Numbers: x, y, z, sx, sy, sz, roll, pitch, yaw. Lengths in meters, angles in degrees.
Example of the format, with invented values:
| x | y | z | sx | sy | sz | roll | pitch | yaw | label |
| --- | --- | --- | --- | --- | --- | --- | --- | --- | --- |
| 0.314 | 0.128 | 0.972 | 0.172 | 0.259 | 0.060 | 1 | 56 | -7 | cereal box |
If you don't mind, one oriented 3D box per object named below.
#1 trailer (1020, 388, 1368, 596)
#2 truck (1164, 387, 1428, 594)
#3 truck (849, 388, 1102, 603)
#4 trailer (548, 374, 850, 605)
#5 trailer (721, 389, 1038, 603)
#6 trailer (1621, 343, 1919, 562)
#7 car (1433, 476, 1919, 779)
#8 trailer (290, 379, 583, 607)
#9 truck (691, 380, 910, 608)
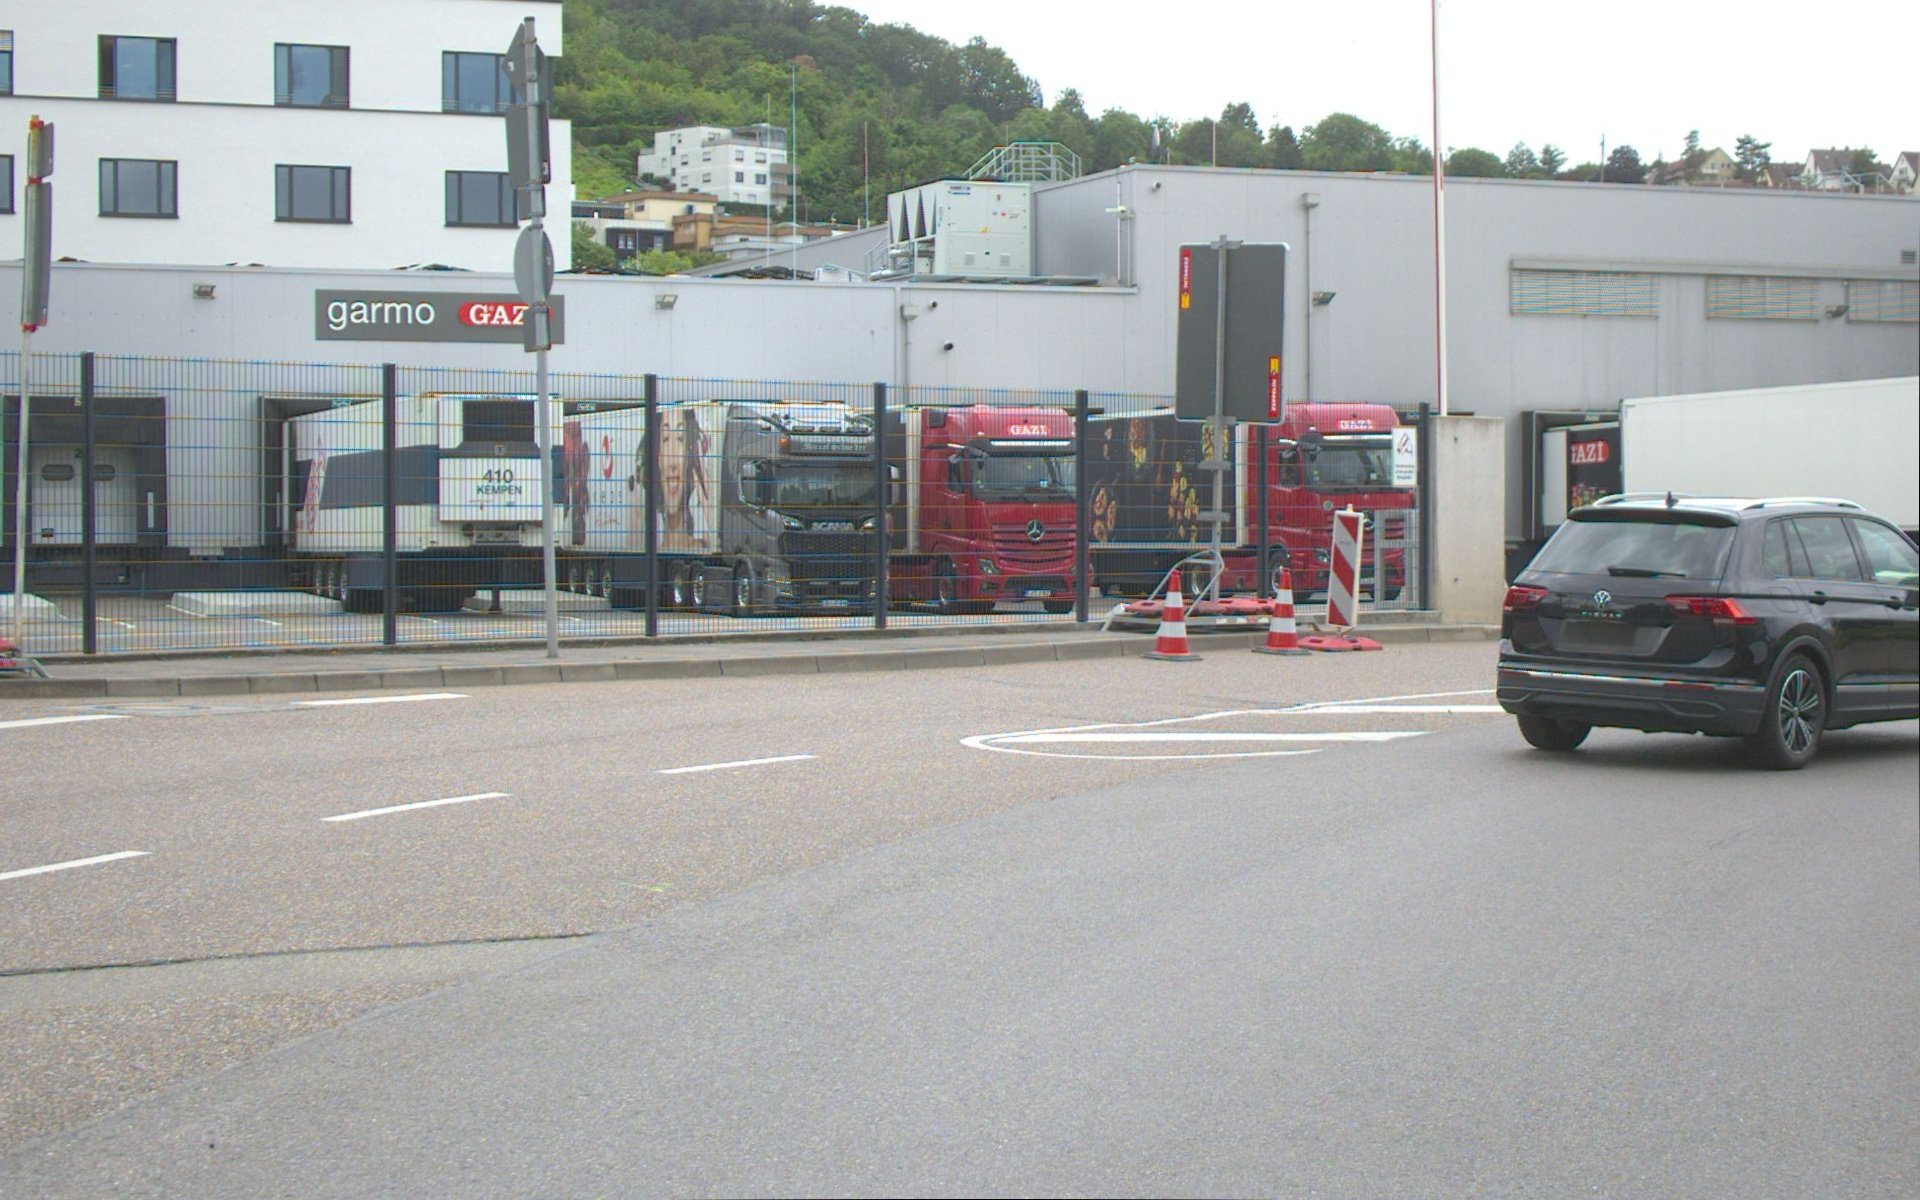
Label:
| x | y | z | sx | sy | sz | roll | pitch | yaw | label |
| --- | --- | --- | --- | --- | --- | --- | --- | --- | --- |
| 4.724 | -2.271 | 72.770 | 2.782 | 4.063 | 11.000 | 0 | 2 | -22 | trailer |
| 6.578 | -2.160 | 68.206 | 2.792 | 3.914 | 5.927 | 0 | 2 | -22 | truck |
| 0.209 | -1.989 | 65.744 | 2.792 | 3.914 | 5.927 | 0 | 2 | -22 | truck |
| -5.484 | -2.213 | 69.458 | 2.782 | 4.286 | 11.185 | 0 | 2 | -22 | trailer |
| -1.868 | -2.137 | 70.819 | 2.782 | 4.063 | 11.000 | 0 | 2 | -22 | trailer |
| 19.008 | -2.855 | 67.245 | 3.027 | 4.169 | 14.019 | -1 | 2 | -33 | trailer |
| 5.068 | 0.109 | 21.835 | 1.998 | 1.678 | 4.361 | 3 | 3 | 41 | car |
| -10.432 | -2.074 | 67.220 | 3.080 | 4.063 | 11.413 | 0 | 2 | -22 | trailer |
| -2.978 | -1.935 | 63.256 | 2.792 | 4.026 | 4.166 | 0 | 2 | -22 | truck |
